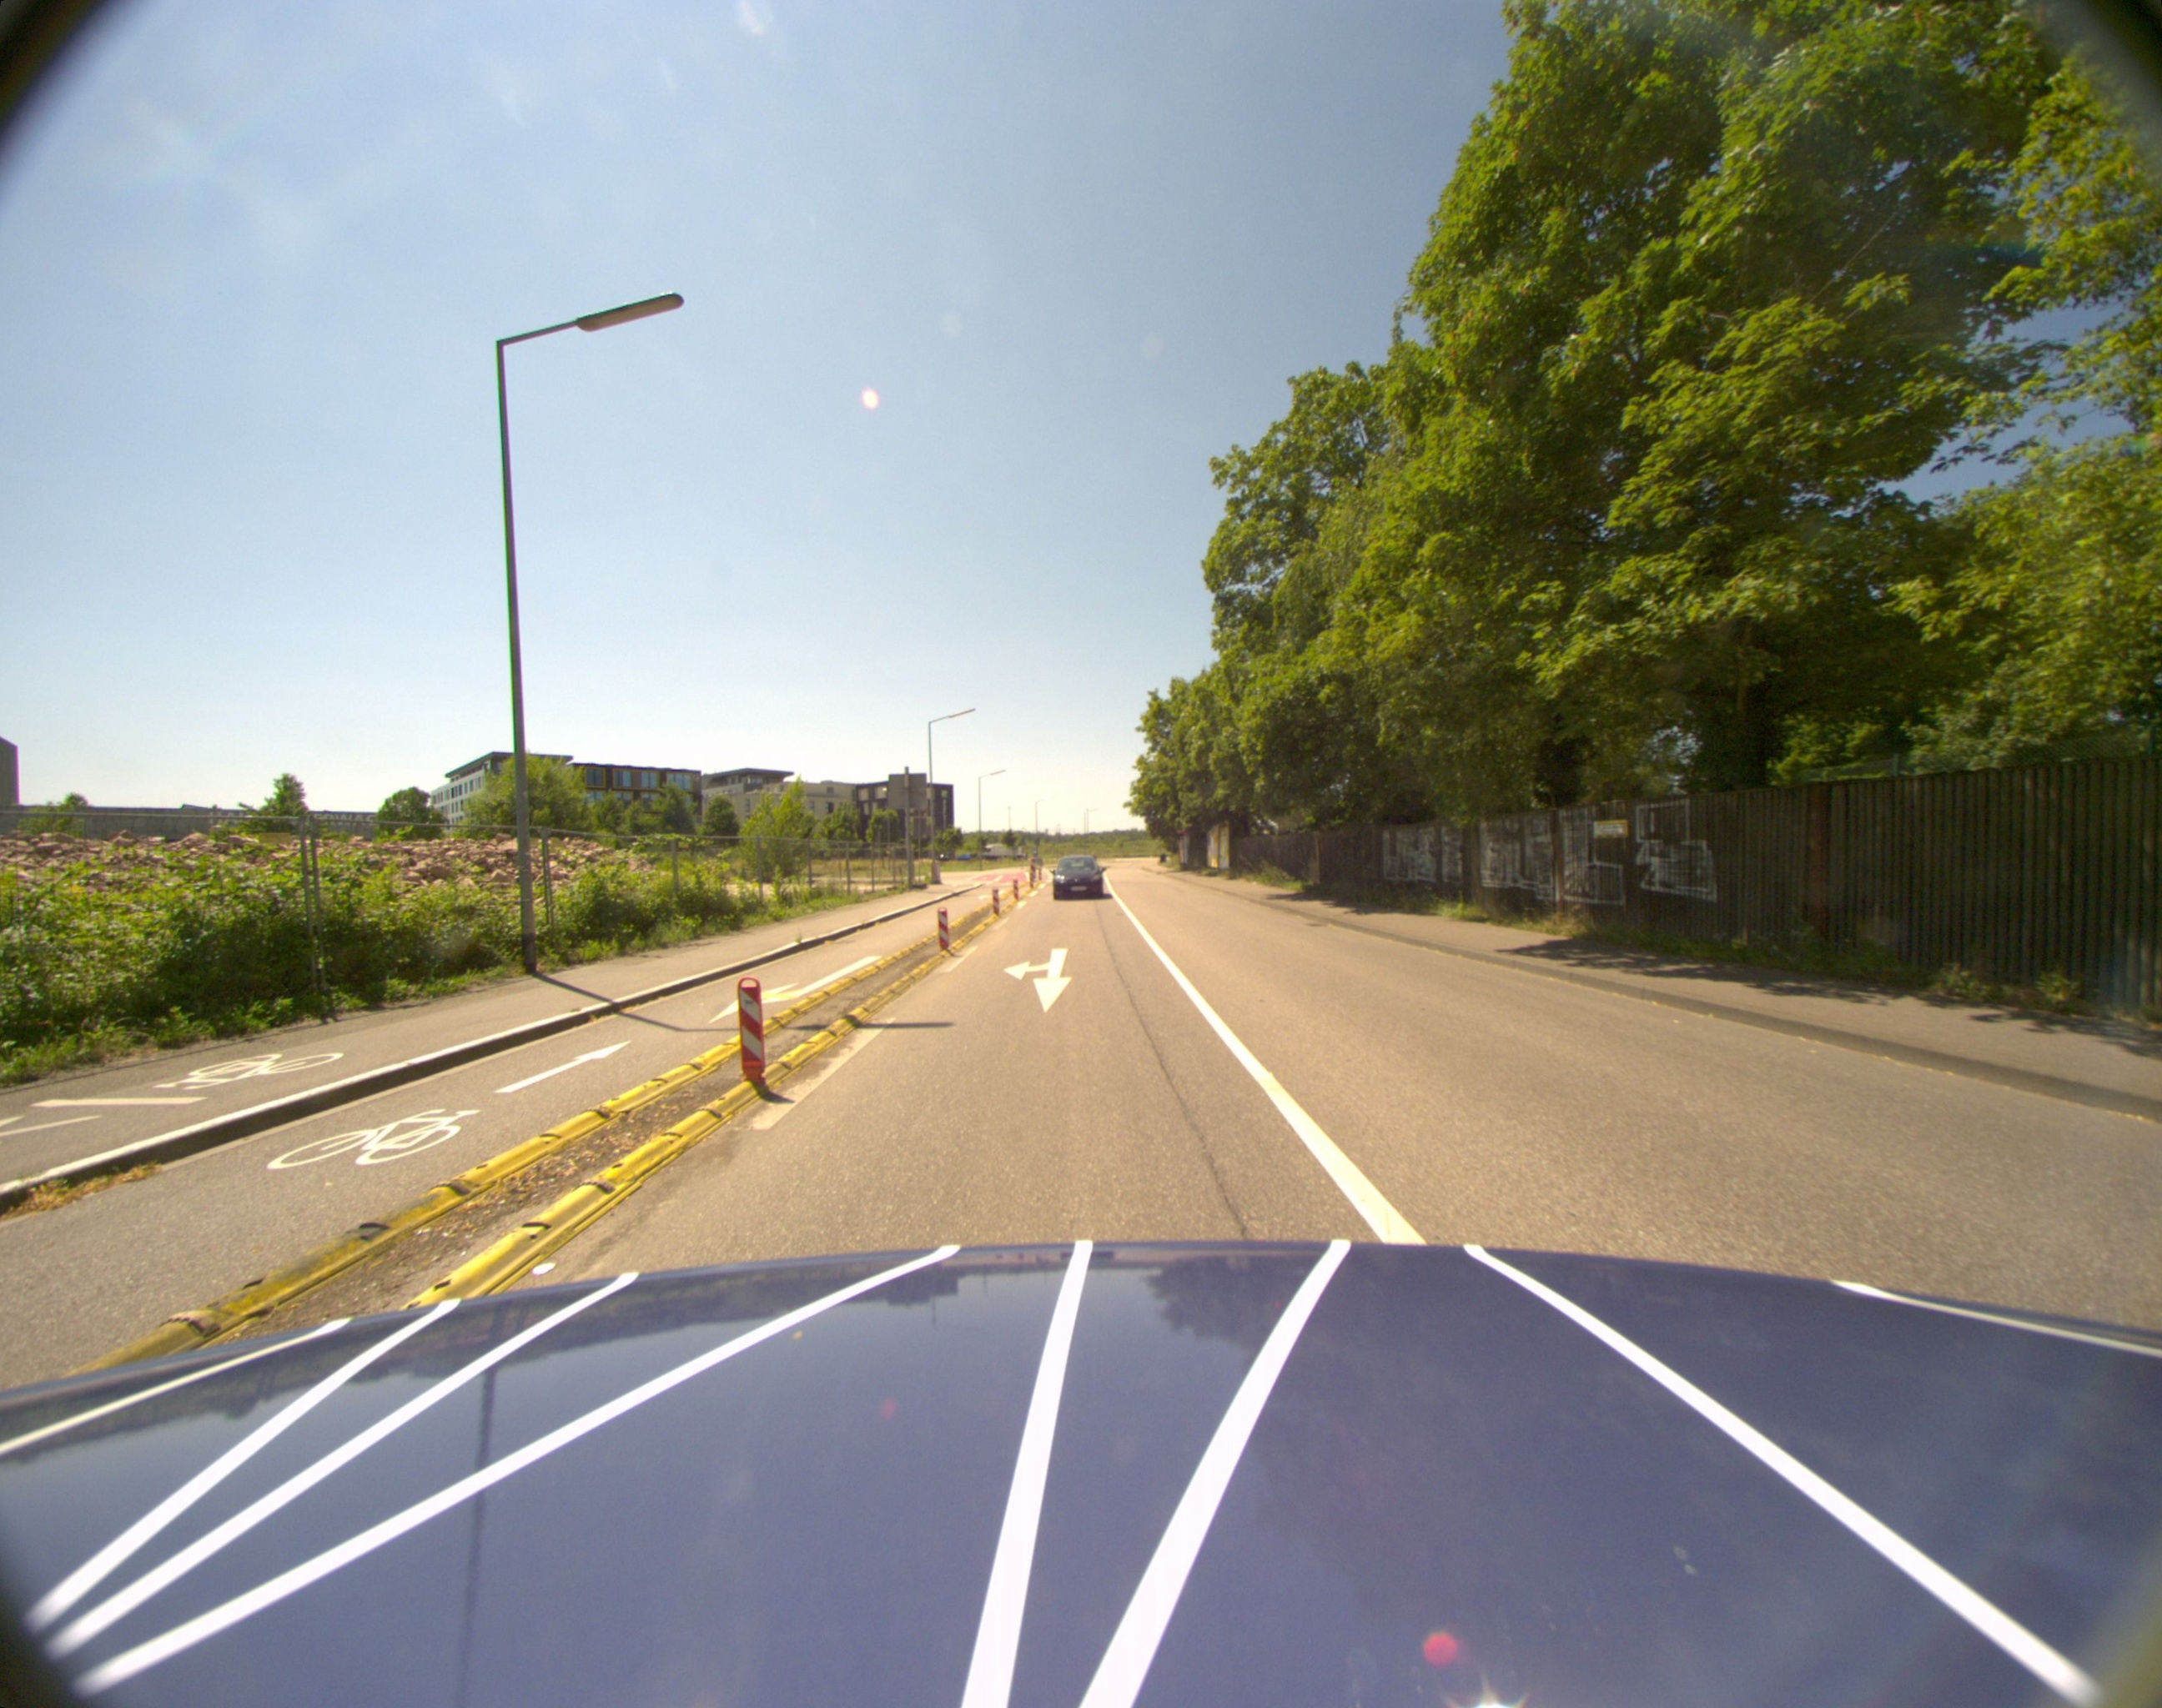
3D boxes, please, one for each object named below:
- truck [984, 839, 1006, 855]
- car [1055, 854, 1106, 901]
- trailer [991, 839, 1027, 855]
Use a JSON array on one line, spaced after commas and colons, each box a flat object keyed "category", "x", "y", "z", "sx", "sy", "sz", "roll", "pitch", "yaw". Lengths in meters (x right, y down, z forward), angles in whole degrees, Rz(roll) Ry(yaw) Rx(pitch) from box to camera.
[{"category": "truck", "x": -17.837, "y": -1.401, "z": 157.275, "sx": 4.008, "sy": 3.317, "sz": 1.994, "roll": -1, "pitch": 1, "yaw": -45}, {"category": "car", "x": 0.013, "y": 0.763, "z": 26.586, "sx": 1.602, "sy": 1.422, "sz": 4.000, "roll": -2, "pitch": 1, "yaw": 1}, {"category": "trailer", "x": -15.075, "y": -1.438, "z": 160.010, "sx": 8.193, "sy": 3.329, "sz": 1.994, "roll": -1, "pitch": 1, "yaw": -45}]
